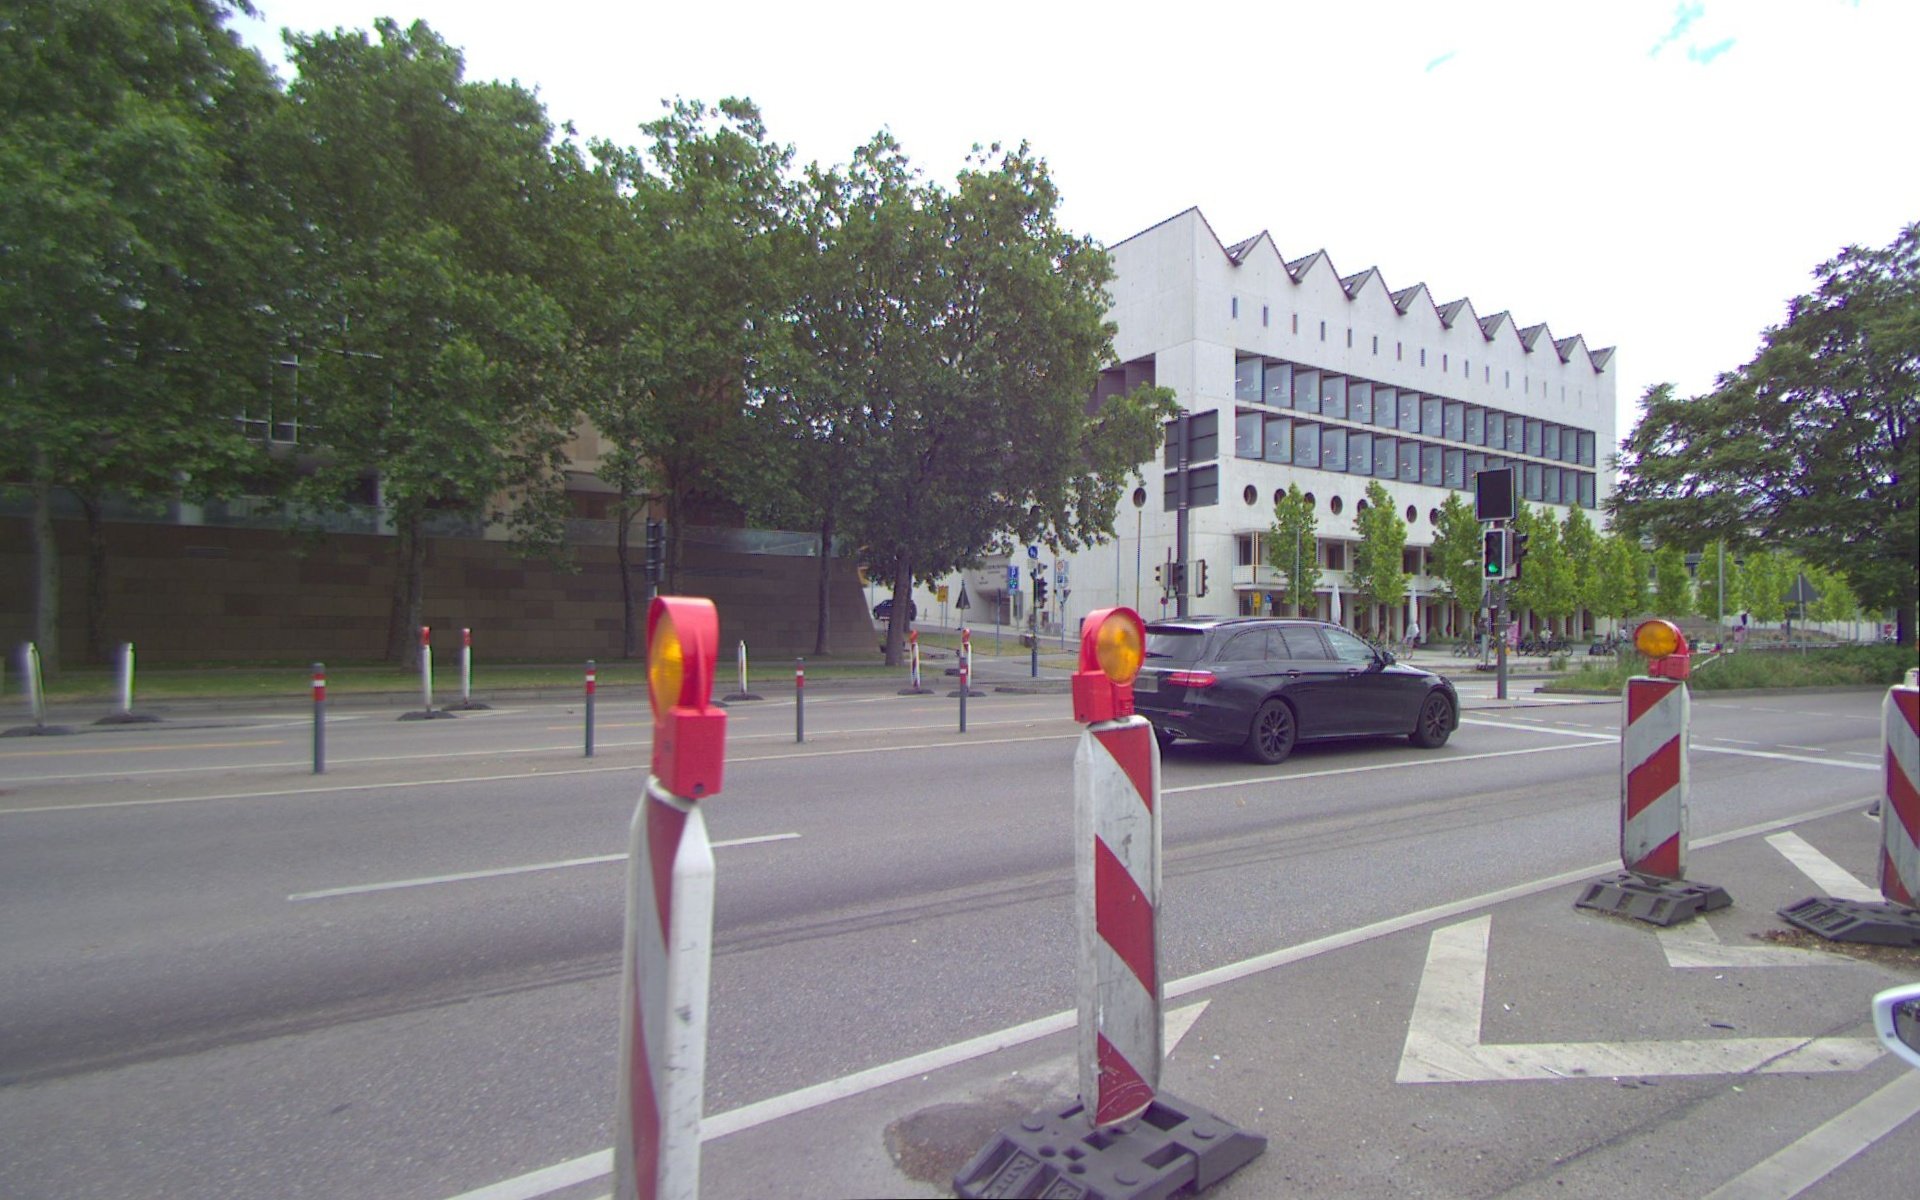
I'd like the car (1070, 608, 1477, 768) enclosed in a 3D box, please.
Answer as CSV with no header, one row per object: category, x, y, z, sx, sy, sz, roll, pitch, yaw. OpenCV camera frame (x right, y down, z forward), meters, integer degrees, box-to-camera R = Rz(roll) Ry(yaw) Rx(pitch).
car,3.724,0.926,11.565,4.811,1.479,1.802,2,-1,-33

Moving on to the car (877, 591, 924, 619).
car,-4.586,0.367,76.895,1.977,1.874,3.966,2,1,-31

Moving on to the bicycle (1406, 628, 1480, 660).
bicycle,26.435,2.404,55.057,1.170,1.706,3.593,1,-2,-32

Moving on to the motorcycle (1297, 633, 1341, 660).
motorcycle,16.949,2.188,47.390,1.858,1.249,0.657,-1,-4,34

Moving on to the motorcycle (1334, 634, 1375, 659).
motorcycle,20.123,2.377,51.300,1.858,1.249,0.657,-1,-4,34

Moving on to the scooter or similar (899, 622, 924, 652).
scooter or similar,-2.219,1.688,46.063,0.532,1.358,1.407,1,-1,-31

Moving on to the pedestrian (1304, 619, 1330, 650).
pedestrian,19.586,1.886,55.082,0.752,1.589,1.094,2,0,-28

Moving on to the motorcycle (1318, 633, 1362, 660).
motorcycle,18.090,2.207,47.863,1.858,1.249,0.657,-1,-4,34

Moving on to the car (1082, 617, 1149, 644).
car,9.079,1.785,59.011,1.732,1.293,3.965,2,1,-31

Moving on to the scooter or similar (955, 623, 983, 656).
scooter or similar,0.362,1.678,42.774,0.532,1.358,1.407,1,-1,-31

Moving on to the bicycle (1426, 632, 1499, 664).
bicycle,28.299,2.681,56.610,1.170,1.706,3.593,1,-2,-32

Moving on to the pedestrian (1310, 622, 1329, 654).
pedestrian,17.894,1.897,50.018,0.865,1.577,0.598,0,-1,16

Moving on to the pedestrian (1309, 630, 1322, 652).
pedestrian,22.171,2.554,62.682,0.559,1.344,0.516,3,-3,-31

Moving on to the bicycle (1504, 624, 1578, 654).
bicycle,33.900,2.266,58.657,1.174,1.706,3.581,1,-2,-41

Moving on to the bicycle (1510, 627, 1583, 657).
bicycle,35.043,2.478,60.050,1.174,1.706,3.581,1,-2,-41

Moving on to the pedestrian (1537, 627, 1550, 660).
pedestrian,38.314,2.855,65.942,0.700,2.041,0.737,-1,3,32
